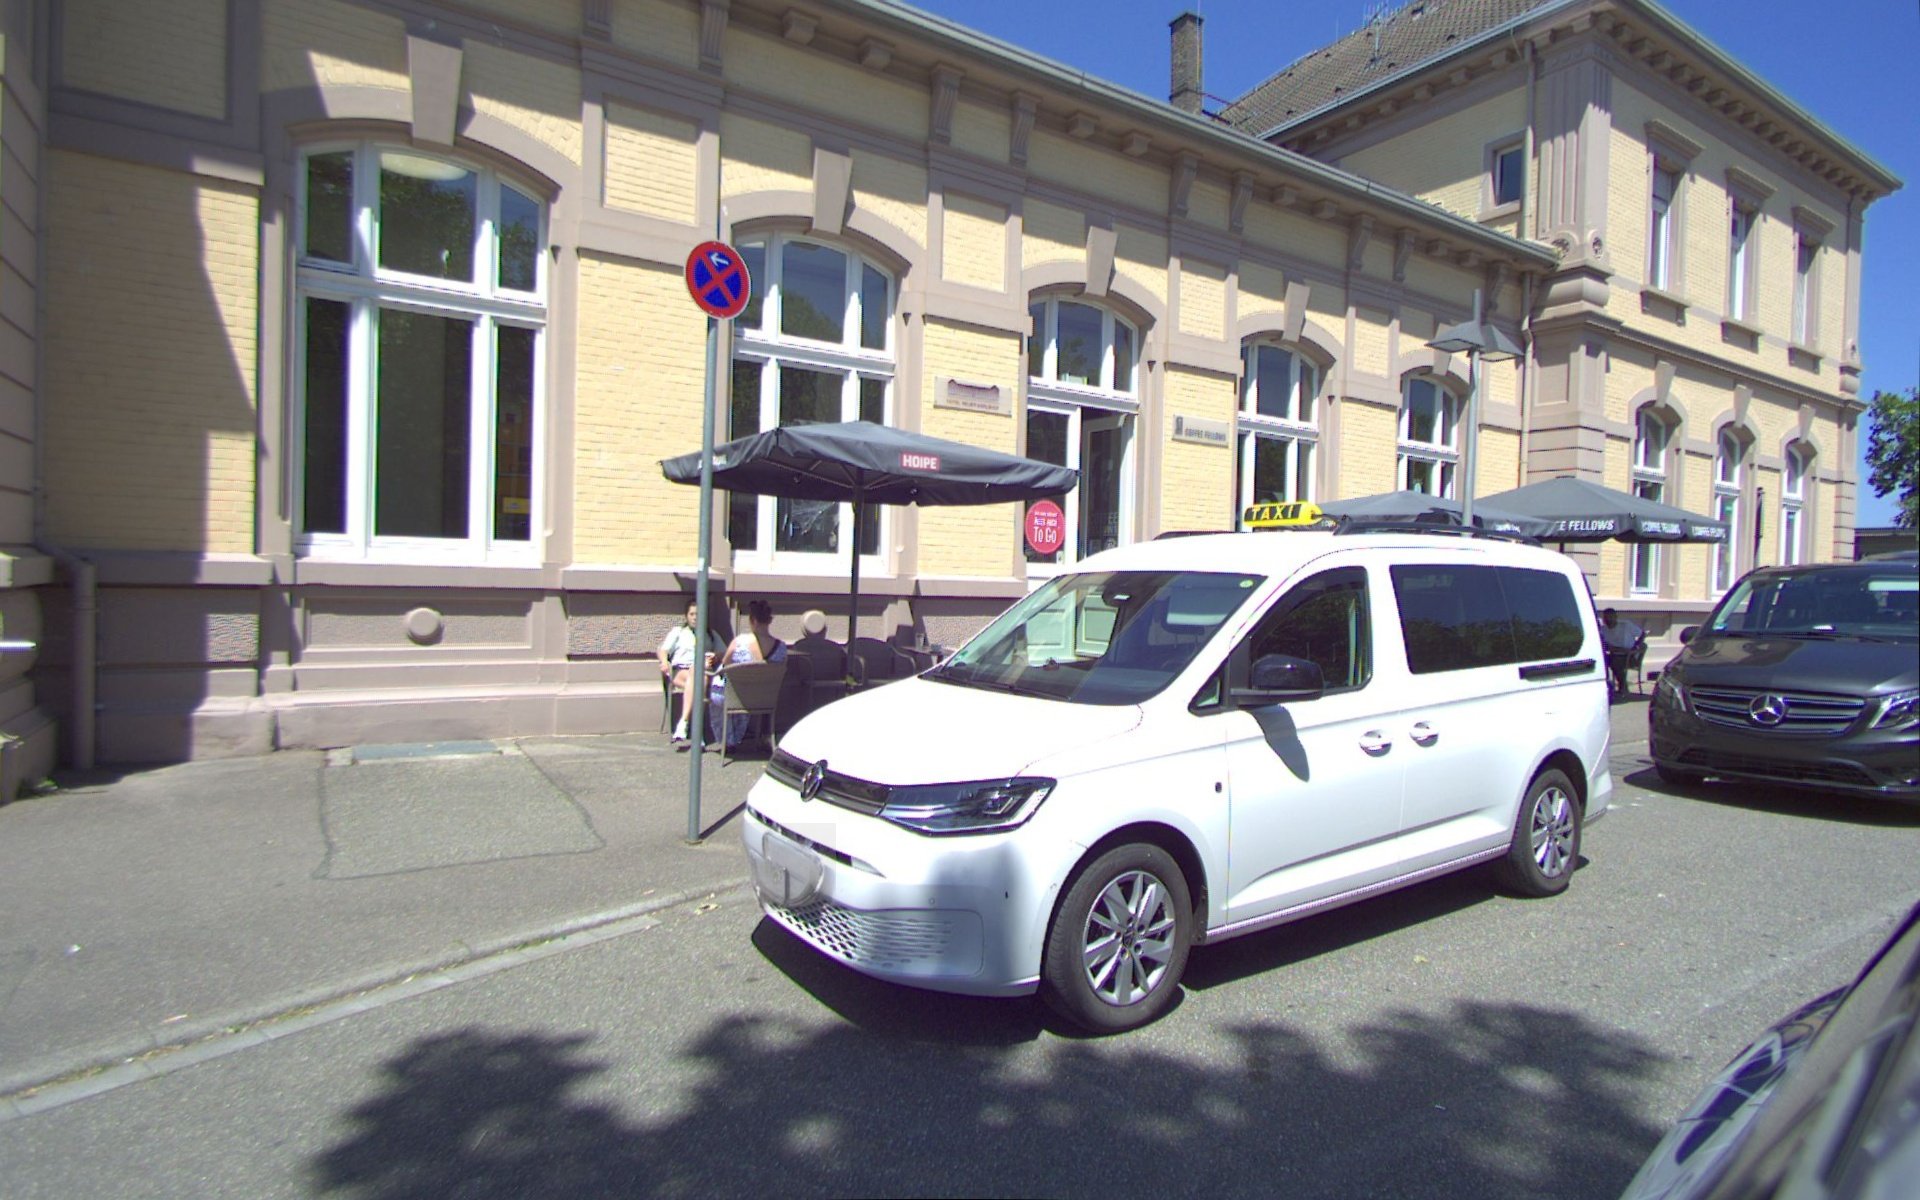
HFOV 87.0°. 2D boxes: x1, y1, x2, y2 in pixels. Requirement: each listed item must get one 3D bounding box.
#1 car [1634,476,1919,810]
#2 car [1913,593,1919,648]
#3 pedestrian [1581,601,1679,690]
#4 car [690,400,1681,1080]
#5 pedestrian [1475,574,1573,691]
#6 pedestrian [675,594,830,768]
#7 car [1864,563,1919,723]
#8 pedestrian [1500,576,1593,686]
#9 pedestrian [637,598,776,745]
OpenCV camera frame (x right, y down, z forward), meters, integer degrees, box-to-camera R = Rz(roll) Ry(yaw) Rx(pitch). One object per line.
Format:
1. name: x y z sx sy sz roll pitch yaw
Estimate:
1. car: 8.119 0.317 8.729 5.718 2.151 2.093 1 0 -38
2. car: 39.817 0.822 38.437 2.012 2.147 4.967 1 0 -33
3. pedestrian: 9.672 0.644 14.617 0.864 1.178 0.853 1 3 -33
4. car: 1.455 0.419 5.001 5.040 1.889 1.815 1 0 -35
5. pedestrian: 8.072 0.441 14.500 0.836 1.562 0.882 1 3 -36
6. pedestrian: -1.594 0.573 7.722 0.836 1.176 0.882 1 3 -36
7. car: 13.450 0.562 12.853 4.751 1.863 2.080 1 0 -38
8. pedestrian: 8.878 0.447 15.339 0.836 1.562 0.882 1 3 -36
9. pedestrian: -2.135 0.558 8.494 0.836 1.093 0.882 1 3 -36
